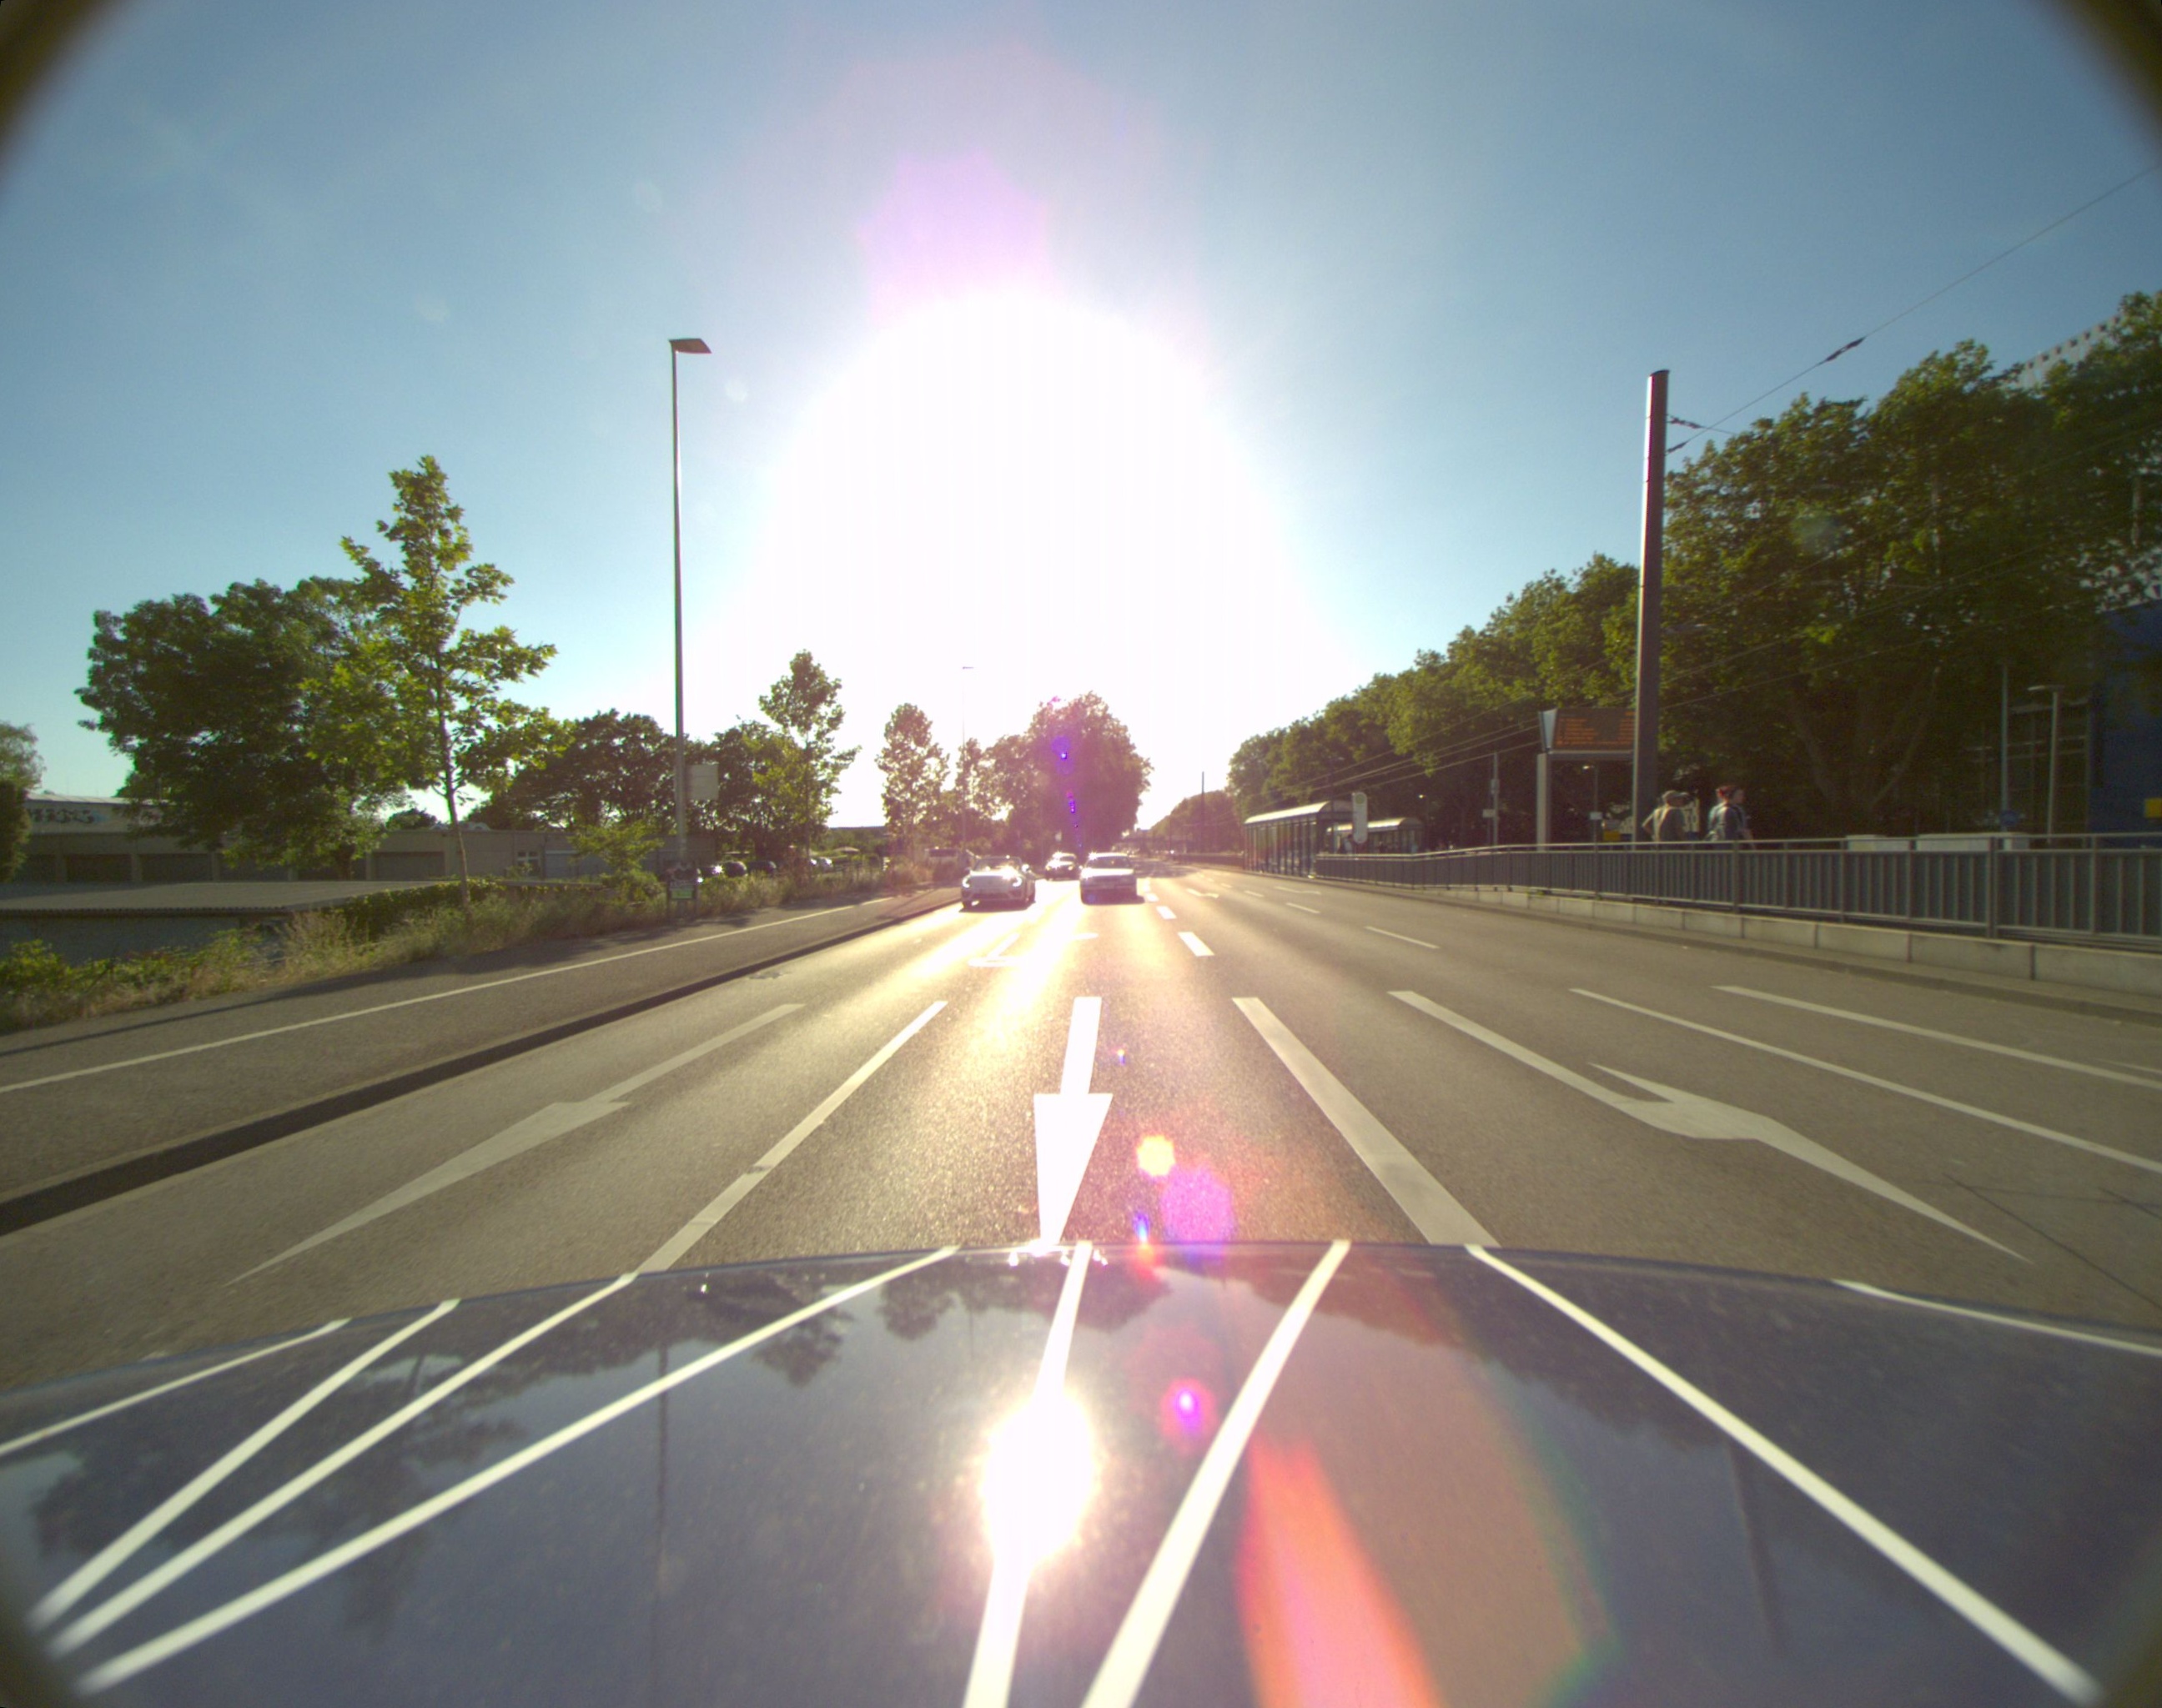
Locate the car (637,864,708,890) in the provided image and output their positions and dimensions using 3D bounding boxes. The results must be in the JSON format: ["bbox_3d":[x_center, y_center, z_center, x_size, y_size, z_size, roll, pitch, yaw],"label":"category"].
[{"bbox_3d":[-27.602,1.548,51.417,3.792,1.548,1.727,-2,3,-2],"label":"car"}]

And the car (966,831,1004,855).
[{"bbox_3d":[-10.738,-1.237,85.773,2.939,2.607,5.925,-1,0,6],"label":"car"}]

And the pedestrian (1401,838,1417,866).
[{"bbox_3d":[21.993,-0.149,50.952,0.733,1.810,0.687,-3,1,-5],"label":"pedestrian"}]

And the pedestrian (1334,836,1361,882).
[{"bbox_3d":[10.178,0.174,29.016,0.695,1.706,0.822,-2,1,-2],"label":"pedestrian"}]

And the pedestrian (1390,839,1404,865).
[{"bbox_3d":[21.748,-0.113,52.312,0.654,1.732,0.685,-3,1,5],"label":"pedestrian"}]

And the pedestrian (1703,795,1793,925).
[{"bbox_3d":[8.900,0.075,10.166,0.535,1.647,0.751,-2,1,4],"label":"pedestrian"}]

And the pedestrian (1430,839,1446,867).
[{"bbox_3d":[22.407,-0.065,47.706,0.652,1.709,0.635,-2,1,6],"label":"pedestrian"}]

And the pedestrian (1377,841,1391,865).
[{"bbox_3d":[20.937,-0.061,52.530,0.661,1.623,0.777,-2,1,4],"label":"pedestrian"}]

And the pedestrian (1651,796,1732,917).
[{"bbox_3d":[8.904,0.034,11.109,0.535,1.683,0.760,-3,1,4],"label":"pedestrian"}]

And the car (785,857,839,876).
[{"bbox_3d":[-26.762,1.223,75.626,4.661,1.560,1.859,-3,0,-1],"label":"car"}]

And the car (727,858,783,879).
[{"bbox_3d":[-27.920,1.266,65.118,4.030,1.577,1.685,-3,0,-1],"label":"car"}]

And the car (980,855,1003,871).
[{"bbox_3d":[-9.343,0.900,79.635,1.999,1.637,4.156,-1,0,-1],"label":"car"}]

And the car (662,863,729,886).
[{"bbox_3d":[-27.569,1.448,54.440,3.793,1.389,1.738,-2,3,-2],"label":"car"}]

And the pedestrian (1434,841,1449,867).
[{"bbox_3d":[22.386,0.007,47.211,0.652,1.610,0.635,-2,1,6],"label":"pedestrian"}]

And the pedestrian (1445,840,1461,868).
[{"bbox_3d":[22.364,-0.005,45.660,0.603,1.610,0.691,-2,1,6],"label":"pedestrian"}]

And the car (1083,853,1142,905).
[{"bbox_3d":[0.934,0.719,24.034,1.603,1.440,3.799,-2,0,-1],"label":"car"}]

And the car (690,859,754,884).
[{"bbox_3d":[-27.158,1.297,57.544,3.918,1.657,1.706,-3,2,0],"label":"car"}]

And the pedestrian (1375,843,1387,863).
[{"bbox_3d":[22.526,-0.096,57.071,0.671,1.483,0.576,-1,1,-10],"label":"pedestrian"}]

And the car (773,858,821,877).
[{"bbox_3d":[-26.968,1.253,72.308,3.837,1.577,1.723,-3,0,1],"label":"car"}]

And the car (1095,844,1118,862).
[{"bbox_3d":[2.259,-0.083,66.982,1.871,1.422,3.832,-3,0,4],"label":"car"}]

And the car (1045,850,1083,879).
[{"bbox_3d":[-0.910,0.563,42.979,1.740,1.502,4.001,-2,0,4],"label":"car"}]

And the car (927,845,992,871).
[{"bbox_3d":[-10.686,0.321,67.244,5.350,2.010,2.104,-3,0,0],"label":"car"}]

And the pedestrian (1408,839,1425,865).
[{"bbox_3d":[22.174,-0.115,50.209,0.734,1.682,0.687,-3,1,-8],"label":"pedestrian"}]

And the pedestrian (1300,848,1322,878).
[{"bbox_3d":[9.941,0.378,32.896,0.682,1.224,0.878,-3,0,3],"label":"pedestrian"}]

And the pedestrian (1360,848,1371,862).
[{"bbox_3d":[22.865,0.076,61.091,0.679,1.155,0.624,-1,1,0],"label":"pedestrian"}]

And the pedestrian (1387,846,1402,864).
[{"bbox_3d":[22.027,0.091,53.389,0.654,1.245,0.685,-3,0,0],"label":"pedestrian"}]

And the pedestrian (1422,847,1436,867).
[{"bbox_3d":[22.157,0.182,48.351,0.603,1.217,0.617,-2,1,6],"label":"pedestrian"}]

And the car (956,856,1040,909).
[{"bbox_3d":[-2.376,0.784,22.847,1.856,1.415,3.981,-1,0,3],"label":"car"}]

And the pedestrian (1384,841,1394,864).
[{"bbox_3d":[21.944,-0.129,54.126,0.576,1.626,0.644,-1,1,11],"label":"pedestrian"}]

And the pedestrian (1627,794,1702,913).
[{"bbox_3d":[9.042,-0.011,11.790,0.708,1.765,0.535,-3,1,7],"label":"pedestrian"}]

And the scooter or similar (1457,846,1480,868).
[{"bbox_3d":[22.204,0.146,43.580,0.665,1.227,1.372,-1,1,2],"label":"scooter or similar"}]

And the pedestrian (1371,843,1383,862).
[{"bbox_3d":[22.449,-0.109,57.656,0.616,1.460,0.544,-1,1,-6],"label":"pedestrian"}]
